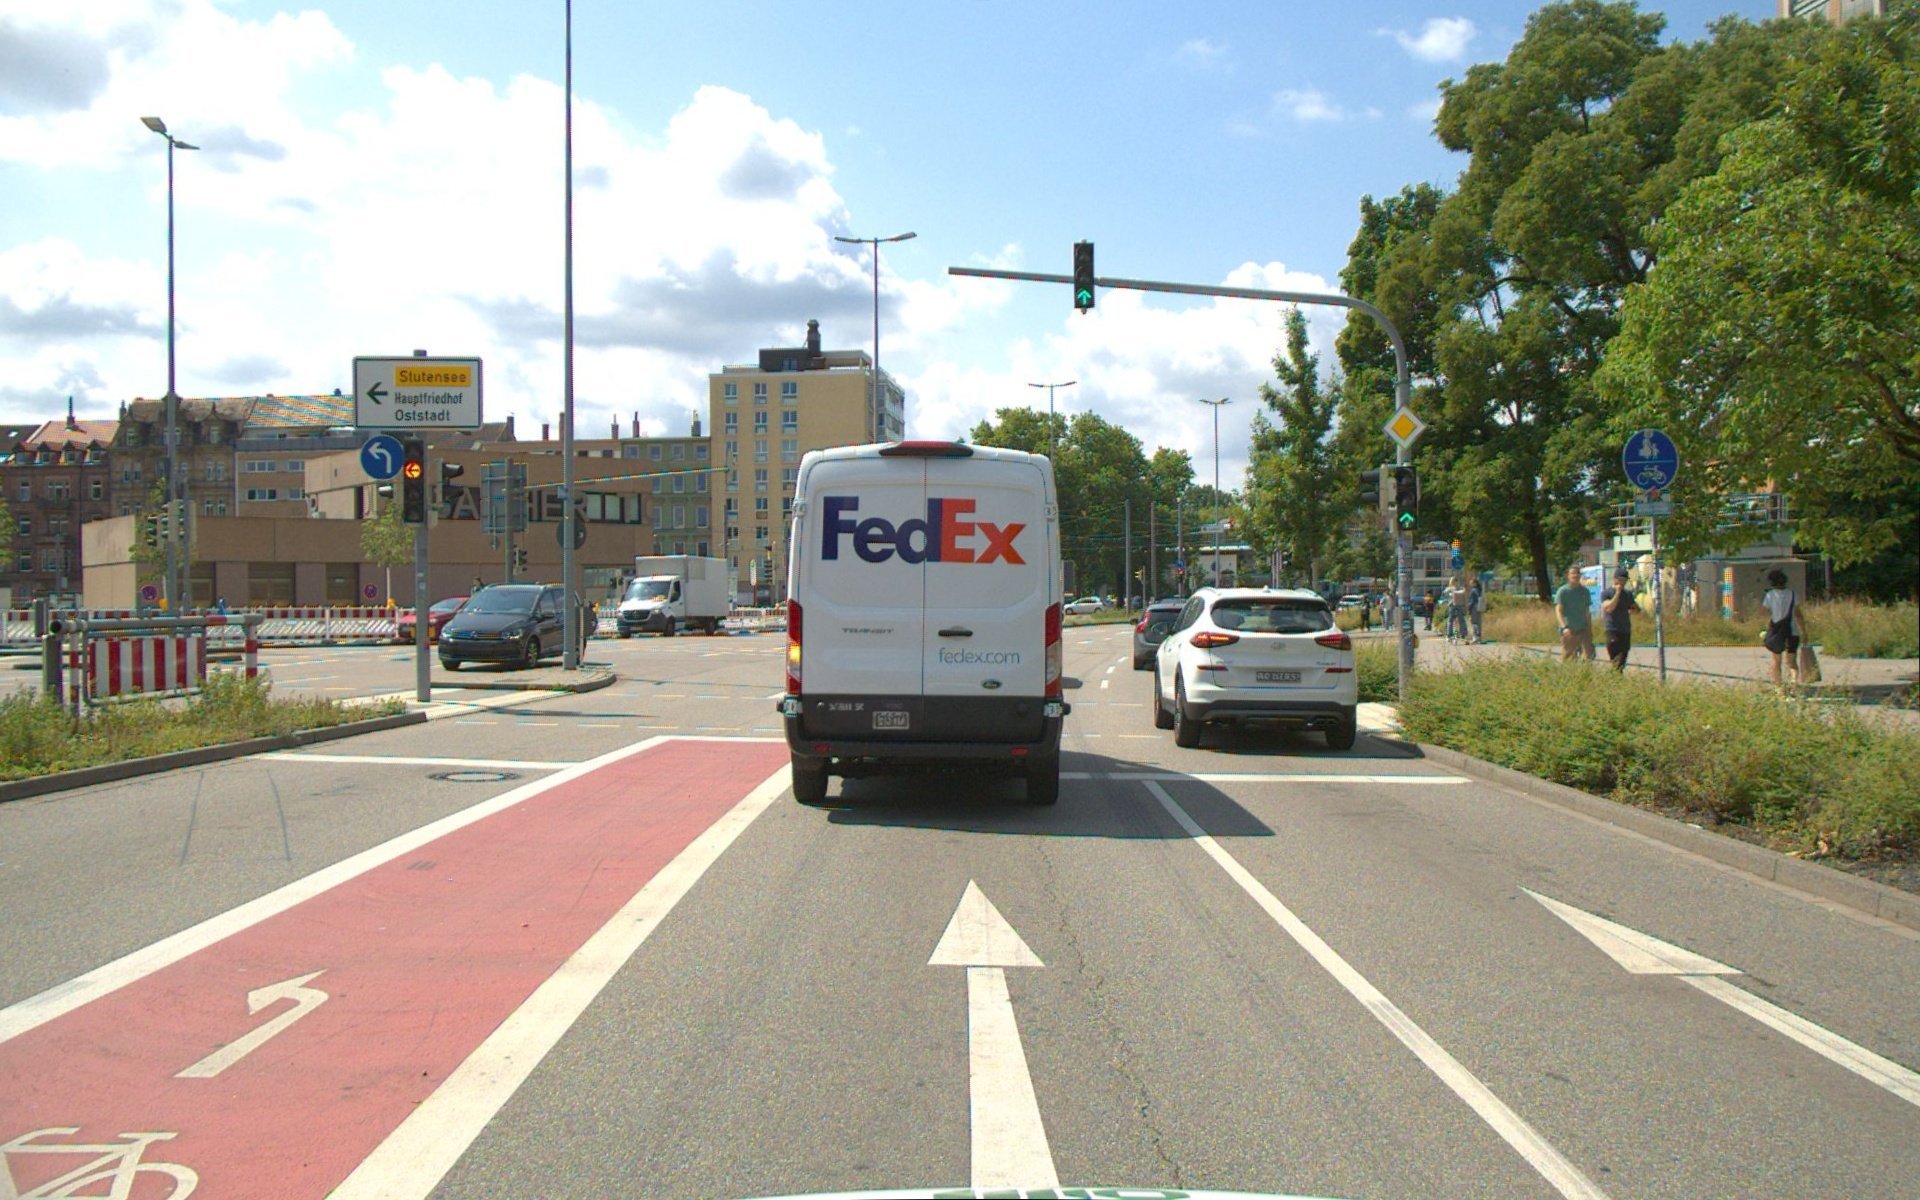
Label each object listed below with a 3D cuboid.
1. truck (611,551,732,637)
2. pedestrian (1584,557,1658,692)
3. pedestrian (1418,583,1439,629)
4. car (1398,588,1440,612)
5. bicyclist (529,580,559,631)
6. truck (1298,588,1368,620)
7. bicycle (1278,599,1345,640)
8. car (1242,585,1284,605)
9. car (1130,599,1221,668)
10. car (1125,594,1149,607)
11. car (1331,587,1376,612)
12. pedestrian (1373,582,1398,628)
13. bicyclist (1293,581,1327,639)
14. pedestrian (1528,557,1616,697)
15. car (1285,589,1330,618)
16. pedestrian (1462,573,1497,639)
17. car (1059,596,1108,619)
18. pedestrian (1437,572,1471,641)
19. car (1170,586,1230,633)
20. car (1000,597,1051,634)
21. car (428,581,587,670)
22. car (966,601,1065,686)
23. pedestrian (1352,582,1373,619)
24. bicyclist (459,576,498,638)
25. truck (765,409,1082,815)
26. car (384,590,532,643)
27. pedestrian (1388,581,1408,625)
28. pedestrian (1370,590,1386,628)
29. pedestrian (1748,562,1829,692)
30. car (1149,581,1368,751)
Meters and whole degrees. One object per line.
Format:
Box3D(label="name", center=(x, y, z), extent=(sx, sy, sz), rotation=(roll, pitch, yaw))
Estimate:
Box3D(label="truck", center=(-11.048, -0.172, 64.014), extent=(1.951, 3.121, 7.336), rotation=(0, -1, 13))
Box3D(label="pedestrian", center=(8.923, 0.320, 22.337), extent=(0.654, 1.777, 0.608), rotation=(-2, 0, -8))
Box3D(label="pedestrian", center=(19.312, 0.253, 68.138), extent=(0.740, 1.853, 0.674), rotation=(0, -1, 8))
Box3D(label="car", center=(33.370, -0.037, 120.088), extent=(1.848, 1.670, 3.946), rotation=(-1, 0, 33))
Box3D(label="bicyclist", center=(-12.310, 0.164, 48.917), extent=(0.553, 1.487, 0.837), rotation=(-1, 0, 9))
Box3D(label="truck", center=(35.872, 0.354, 158.814), extent=(2.842, 2.902, 8.744), rotation=(-1, 0, 40))
Box3D(label="bicycle", center=(10.141, 0.573, 47.708), extent=(1.771, 1.068, 0.592), rotation=(-3, -2, 5))
Box3D(label="car", center=(29.030, -0.515, 158.303), extent=(1.693, 1.832, 4.711), rotation=(-2, 0, 42))
Box3D(label="car", center=(4.835, 0.714, 37.492), extent=(1.874, 1.445, 3.921), rotation=(-1, 0, 5))
Box3D(label="car", center=(21.947, 0.053, 204.978), extent=(1.952, 1.601, 4.179), rotation=(0, -1, 20))
Box3D(label="car", center=(27.248, -0.073, 114.458), extent=(1.848, 1.670, 3.946), rotation=(-1, 0, 33))
Box3D(label="pedestrian", center=(17.771, 0.221, 69.057), extent=(0.740, 1.853, 0.780), rotation=(-4, -1, 0))
Box3D(label="bicyclist", center=(10.087, 0.292, 47.720), extent=(0.810, 1.629, 0.580), rotation=(-3, -2, 5))
Box3D(label="pedestrian", center=(8.210, 0.351, 22.217), extent=(0.735, 1.808, 0.880), rotation=(-2, 0, -8))
Box3D(label="car", center=(21.280, 0.194, 101.251), extent=(1.844, 1.670, 3.954), rotation=(-1, 0, 25))
Box3D(label="pedestrian", center=(14.227, 0.158, 45.322), extent=(0.734, 1.783, 0.610), rotation=(-2, 0, 5))
Box3D(label="car", center=(10.565, 0.643, 141.508), extent=(3.987, 1.959, 1.811), rotation=(1, -1, 11))
Box3D(label="pedestrian", center=(13.428, 0.176, 44.961), extent=(0.734, 1.834, 0.610), rotation=(-2, 0, 5))
Box3D(label="car", center=(8.954, 0.332, 61.447), extent=(1.841, 1.670, 3.960), rotation=(-1, 0, 14))
Box3D(label="car", center=(3.704, 0.889, 93.119), extent=(1.951, 2.049, 4.125), rotation=(0, -1, 16))
Box3D(label="car", center=(-8.962, 0.459, 33.145), extent=(1.842, 1.652, 4.157), rotation=(0, 0, 3))
Box3D(label="car", center=(1.012, 0.759, 30.709), extent=(1.705, 1.416, 4.180), rotation=(-1, 0, 1))
Box3D(label="pedestrian", center=(17.786, 0.030, 73.151), extent=(0.740, 1.617, 0.761), rotation=(1, -1, 0))
Box3D(label="bicyclist", center=(-13.035, 0.185, 44.796), extent=(0.760, 1.647, 0.843), rotation=(-1, 0, 1))
Box3D(label="truck", center=(-0.220, 0.087, 13.964), extent=(2.093, 2.686, 5.917), rotation=(0, 0, 0))
Box3D(label="car", center=(-15.270, 0.485, 50.430), extent=(3.875, 1.512, 1.968), rotation=(-1, 0, -44))
Box3D(label="pedestrian", center=(18.870, 0.126, 71.272), extent=(0.740, 1.853, 0.638), rotation=(1, -1, 6))
Box3D(label="pedestrian", center=(18.058, 0.388, 71.443), extent=(0.575, 1.654, 0.728), rotation=(1, -1, 6))
Box3D(label="pedestrian", center=(10.666, 0.338, 21.311), extent=(0.653, 1.624, 0.647), rotation=(-2, 0, -2))
Box3D(label="car", center=(3.189, 0.633, 18.446), extent=(1.842, 1.670, 4.234), rotation=(0, 0, 2))
